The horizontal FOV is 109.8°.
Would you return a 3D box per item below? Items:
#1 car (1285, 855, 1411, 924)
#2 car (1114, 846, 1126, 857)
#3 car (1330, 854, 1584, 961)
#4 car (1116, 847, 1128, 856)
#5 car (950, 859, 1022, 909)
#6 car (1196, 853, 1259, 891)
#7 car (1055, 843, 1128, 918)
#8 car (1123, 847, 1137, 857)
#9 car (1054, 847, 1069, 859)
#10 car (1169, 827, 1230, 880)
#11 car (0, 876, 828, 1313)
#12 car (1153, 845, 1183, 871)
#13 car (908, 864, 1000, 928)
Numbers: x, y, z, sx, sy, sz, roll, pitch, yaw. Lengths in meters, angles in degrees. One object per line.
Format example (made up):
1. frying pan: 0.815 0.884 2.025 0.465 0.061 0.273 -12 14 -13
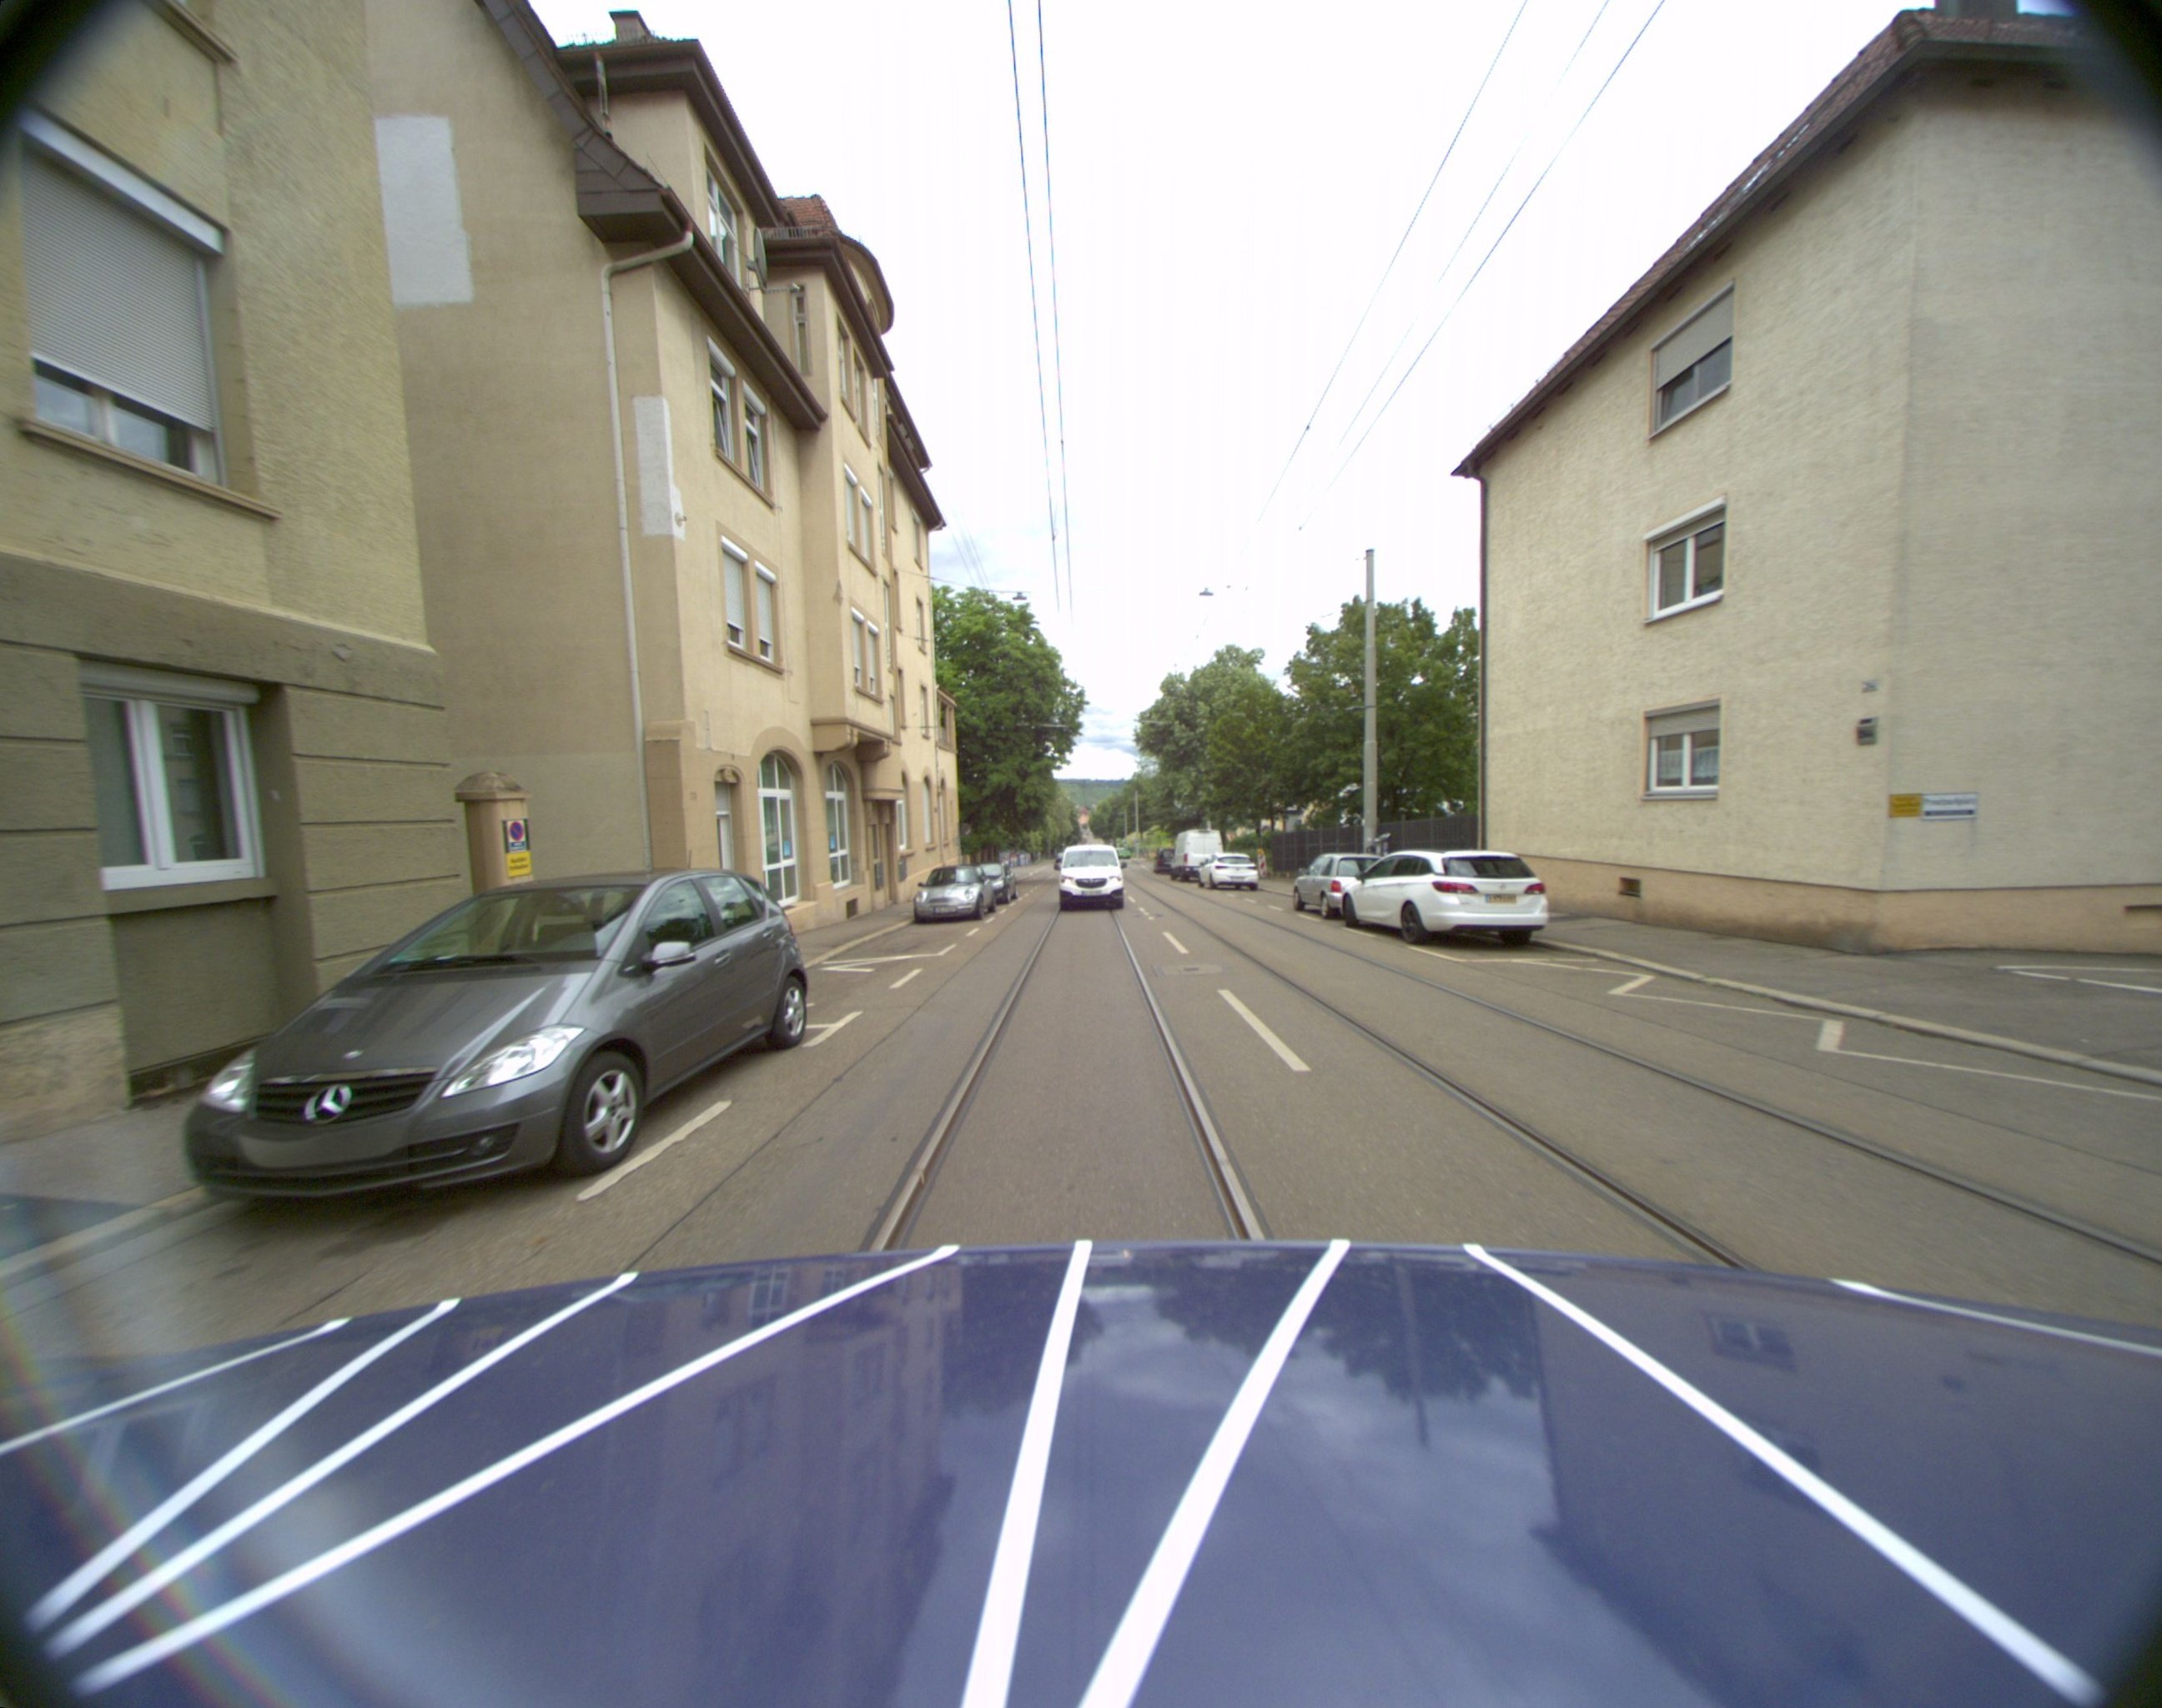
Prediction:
1. car: 5.946 0.719 17.369 1.604 1.360 3.807 1 0 2
2. car: 6.963 -0.516 135.390 1.901 1.935 4.290 0 1 1
3. car: 5.892 0.731 12.688 1.832 1.420 4.626 1 0 -1
4. car: 7.010 -0.467 130.075 1.856 1.485 3.948 0 1 1
5. car: -3.171 0.964 26.210 1.844 1.395 4.166 -4 1 1
6. car: 5.836 0.663 30.671 1.723 1.394 4.313 1 0 1
7. car: 0.332 0.646 21.240 1.759 1.824 4.448 -2 1 2
8. car: 7.459 -0.283 115.993 1.856 1.532 3.948 -2 0 1
9. car: -2.827 -0.148 109.270 1.863 1.434 4.388 -5 0 1
10. car: 6.180 -0.036 40.406 2.164 2.591 6.218 1 0 -1
11. car: -3.365 1.030 5.056 1.832 1.510 4.028 -4 0 1
12. car: 6.245 0.259 54.975 1.766 1.765 4.668 1 1 2
13. car: -3.287 1.042 20.343 1.699 1.396 3.667 -4 0 1
